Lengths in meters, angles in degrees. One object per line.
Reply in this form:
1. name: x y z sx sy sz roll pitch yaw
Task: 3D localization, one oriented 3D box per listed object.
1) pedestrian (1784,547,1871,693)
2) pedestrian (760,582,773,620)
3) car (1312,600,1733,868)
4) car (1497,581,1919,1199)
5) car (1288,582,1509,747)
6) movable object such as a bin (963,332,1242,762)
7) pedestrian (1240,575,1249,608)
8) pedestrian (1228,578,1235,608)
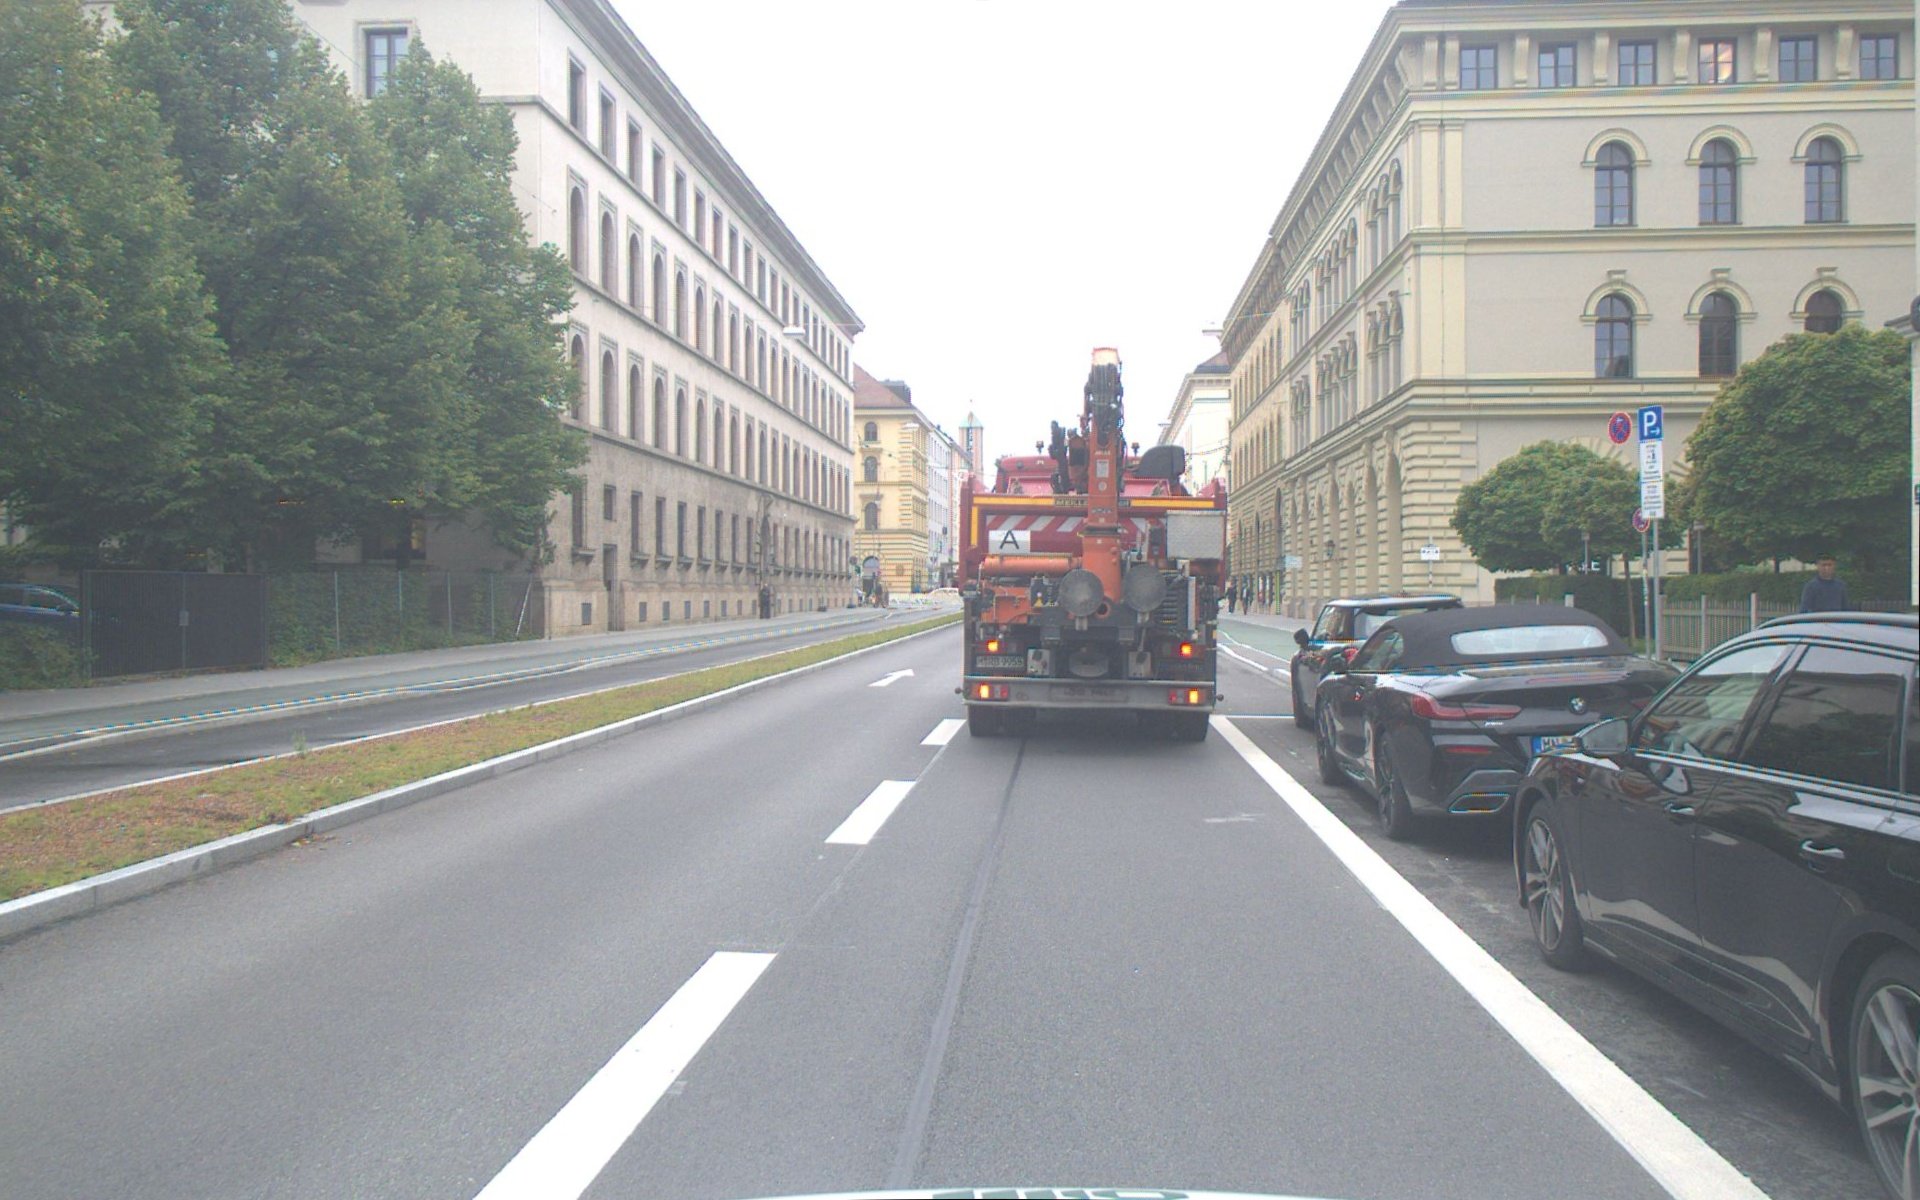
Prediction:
1. pedestrian: 11.360 0.252 21.673 0.773 1.868 0.777 0 1 5
2. pedestrian: -9.621 0.064 82.157 0.576 1.863 0.499 1 1 3
3. car: 3.583 0.737 11.377 1.645 1.410 4.429 1 1 4
4. car: 3.176 0.716 5.030 1.764 1.505 4.689 1 1 3
5. car: 4.406 0.582 17.057 1.576 1.521 3.426 -1 0 4
6. movable object such as a bin: 1.374 -0.482 17.121 2.372 3.674 5.854 0 0 3
7. pedestrian: 16.010 -0.482 92.988 0.436 1.868 0.556 -1 0 5
8. pedestrian: 15.235 -0.390 92.919 0.330 1.701 0.440 -1 0 5
